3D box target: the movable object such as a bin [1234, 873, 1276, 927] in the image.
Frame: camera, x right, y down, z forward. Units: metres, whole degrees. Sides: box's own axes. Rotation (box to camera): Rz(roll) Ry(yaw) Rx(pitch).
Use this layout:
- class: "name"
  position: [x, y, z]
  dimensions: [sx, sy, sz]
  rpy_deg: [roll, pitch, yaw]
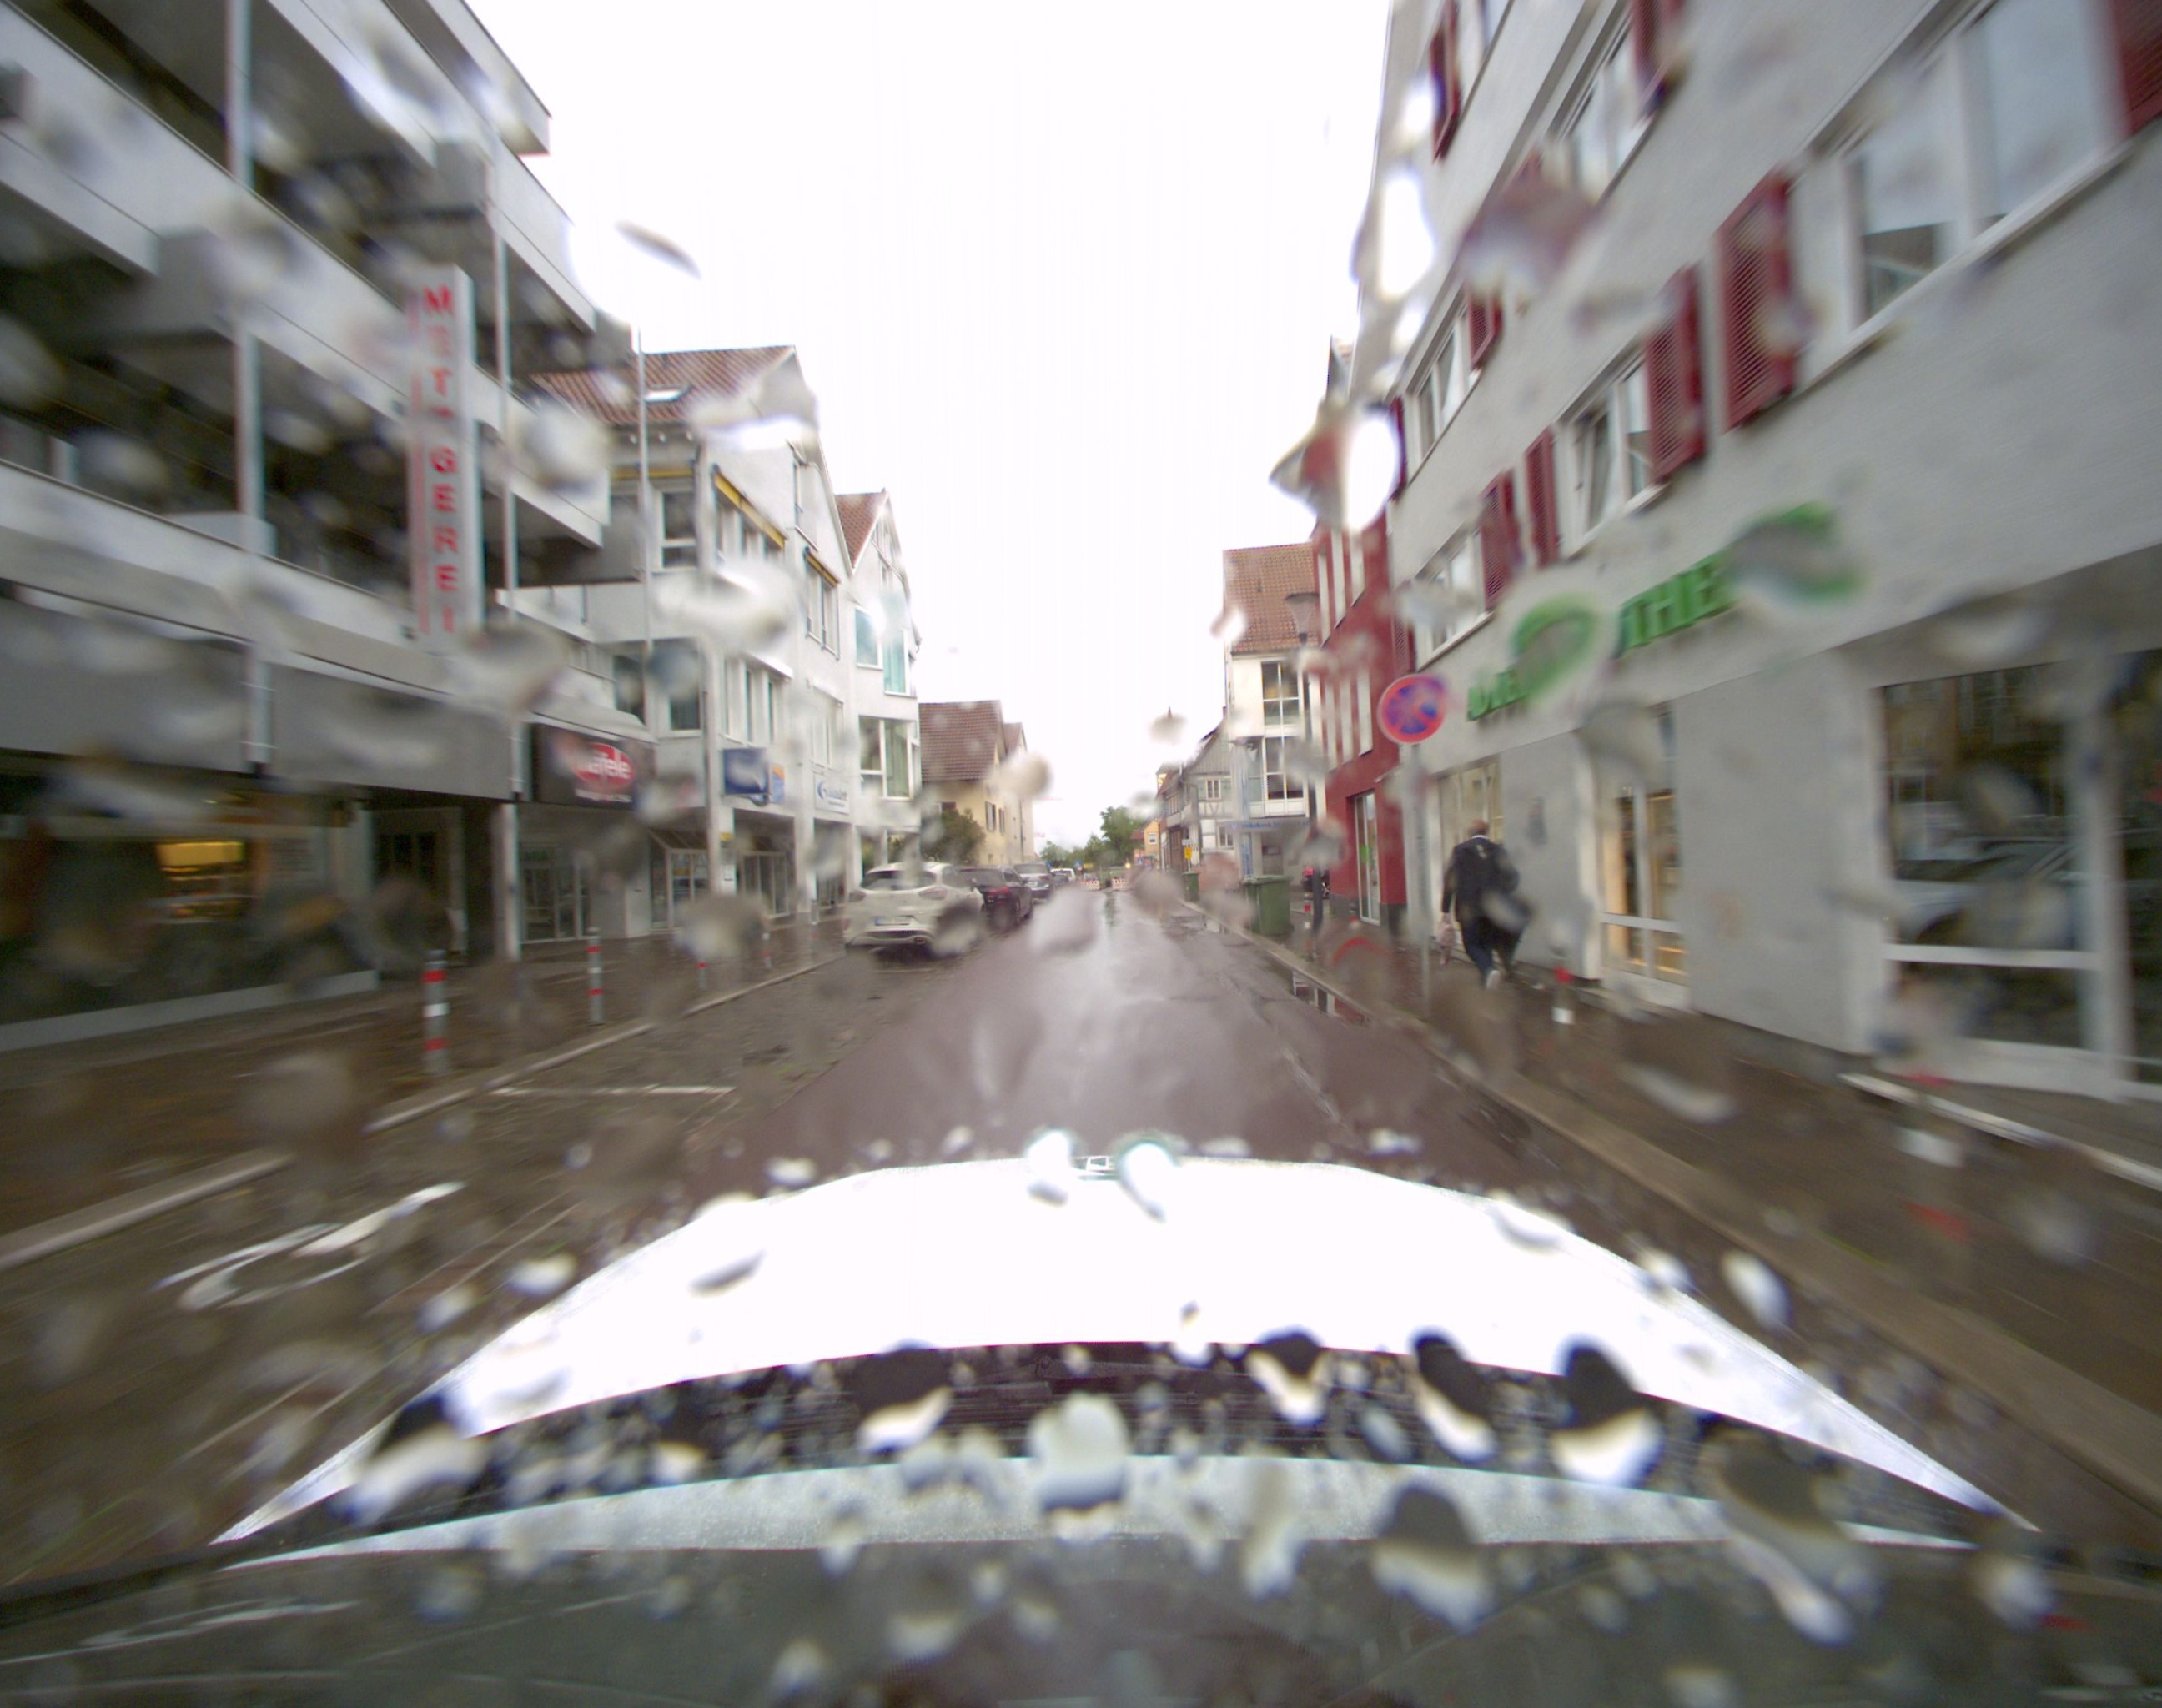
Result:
- class: "movable object such as a bin"
  position: [3.642, 0.947, 17.103]
  dimensions: [0.726, 1.081, 0.647]
  rpy_deg: [-3, -2, 3]

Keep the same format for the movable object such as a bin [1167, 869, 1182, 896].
- class: "movable object such as a bin"
  position: [4.533, 1.398, 39.549]
  dimensions: [0.634, 1.290, 0.633]
  rpy_deg: [-3, -3, 7]

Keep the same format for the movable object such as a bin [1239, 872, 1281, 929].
- class: "movable object such as a bin"
  position: [3.602, 0.929, 16.443]
  dimensions: [0.707, 1.094, 0.614]
  rpy_deg: [-3, -2, 3]

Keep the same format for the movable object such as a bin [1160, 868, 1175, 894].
- class: "movable object such as a bin"
  position: [4.279, 1.338, 40.291]
  dimensions: [0.634, 1.290, 0.633]
  rpy_deg: [-3, -3, 7]

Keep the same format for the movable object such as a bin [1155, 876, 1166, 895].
- class: "movable object such as a bin"
  position: [4.920, 1.948, 50.359]
  dimensions: [0.634, 1.147, 0.604]
  rpy_deg: [-3, -3, 7]

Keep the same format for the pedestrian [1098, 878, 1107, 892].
- class: "pedestrian"
  position: [2.796, 3.985, 104.661]
  dimensions: [0.988, 1.759, 0.850]
  rpy_deg: [-2, -3, -4]

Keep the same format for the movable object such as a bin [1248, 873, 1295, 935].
- class: "movable object such as a bin"
  position: [3.482, 0.902, 14.942]
  dimensions: [0.673, 1.086, 0.719]
  rpy_deg: [-3, -2, 4]

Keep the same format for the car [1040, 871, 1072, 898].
- class: "car"
  position: [-1.380, 1.744, 46.124]
  dimensions: [1.676, 1.389, 3.823]
  rpy_deg: [-2, -3, -1]

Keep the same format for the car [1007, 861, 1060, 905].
- class: "car"
  position: [-1.863, 1.202, 33.059]
  dimensions: [1.774, 1.569, 4.407]
  rpy_deg: [-2, -3, 0]

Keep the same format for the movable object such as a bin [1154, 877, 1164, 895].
- class: "movable object such as a bin"
  position: [5.096, 2.090, 53.250]
  dimensions: [0.607, 1.128, 0.599]
  rpy_deg: [-2, -3, 2]

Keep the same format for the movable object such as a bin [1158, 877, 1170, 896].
- class: "movable object such as a bin"
  position: [5.067, 1.972, 49.671]
  dimensions: [0.636, 1.147, 0.632]
  rpy_deg: [-2, -3, 0]

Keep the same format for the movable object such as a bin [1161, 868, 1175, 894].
- class: "movable object such as a bin"
  position: [4.370, 1.374, 40.994]
  dimensions: [0.634, 1.290, 0.633]
  rpy_deg: [-3, -3, 7]

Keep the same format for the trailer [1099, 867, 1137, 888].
- class: "trailer"
  position: [5.820, 3.764, 129.454]
  dimensions: [5.768, 2.948, 1.997]
  rpy_deg: [-2, -3, -3]

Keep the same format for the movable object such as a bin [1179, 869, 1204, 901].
- class: "movable object such as a bin"
  position: [4.153, 1.177, 30.648]
  dimensions: [0.801, 1.131, 0.862]
  rpy_deg: [-2, -3, 1]

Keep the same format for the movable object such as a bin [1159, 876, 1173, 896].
- class: "movable object such as a bin"
  position: [4.971, 1.867, 47.660]
  dimensions: [0.676, 1.097, 0.650]
  rpy_deg: [-2, -3, -2]

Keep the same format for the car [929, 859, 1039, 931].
- class: "car"
  position: [-2.288, 0.946, 20.472]
  dimensions: [1.823, 1.499, 4.767]
  rpy_deg: [-3, -1, 4]

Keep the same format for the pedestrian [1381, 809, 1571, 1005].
- class: "pedestrian"
  position: [3.804, 0.493, 7.993]
  dimensions: [1.174, 1.697, 1.177]
  rpy_deg: [-4, -2, -1]

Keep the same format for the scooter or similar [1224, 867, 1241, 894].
- class: "scooter or similar"
  position: [6.631, 1.176, 35.775]
  dimensions: [0.661, 1.146, 1.449]
  rpy_deg: [-3, -3, 9]

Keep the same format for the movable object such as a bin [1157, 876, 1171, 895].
- class: "movable object such as a bin"
  position: [4.993, 1.897, 49.035]
  dimensions: [0.667, 1.081, 0.587]
  rpy_deg: [-4, -4, 0]

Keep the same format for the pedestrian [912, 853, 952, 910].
- class: "pedestrian"
  position: [-4.931, 0.910, 27.057]
  dimensions: [1.031, 1.806, 1.117]
  rpy_deg: [-2, -2, 2]

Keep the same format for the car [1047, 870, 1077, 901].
- class: "car"
  position: [-1.151, 2.006, 51.898]
  dimensions: [1.718, 1.825, 4.426]
  rpy_deg: [-2, -3, 0]

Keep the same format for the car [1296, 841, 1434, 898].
- class: "car"
  position: [9.142, 0.534, 26.551]
  dimensions: [3.960, 1.515, 1.918]
  rpy_deg: [-4, -3, 12]

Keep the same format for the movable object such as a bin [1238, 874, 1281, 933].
- class: "movable object such as a bin"
  position: [3.432, 0.937, 15.708]
  dimensions: [0.673, 1.084, 0.698]
  rpy_deg: [-3, -2, 4]

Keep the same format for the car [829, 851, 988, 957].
- class: "car"
  position: [-2.830, 0.843, 14.284]
  dimensions: [1.784, 1.551, 4.001]
  rpy_deg: [-2, -3, 2]
